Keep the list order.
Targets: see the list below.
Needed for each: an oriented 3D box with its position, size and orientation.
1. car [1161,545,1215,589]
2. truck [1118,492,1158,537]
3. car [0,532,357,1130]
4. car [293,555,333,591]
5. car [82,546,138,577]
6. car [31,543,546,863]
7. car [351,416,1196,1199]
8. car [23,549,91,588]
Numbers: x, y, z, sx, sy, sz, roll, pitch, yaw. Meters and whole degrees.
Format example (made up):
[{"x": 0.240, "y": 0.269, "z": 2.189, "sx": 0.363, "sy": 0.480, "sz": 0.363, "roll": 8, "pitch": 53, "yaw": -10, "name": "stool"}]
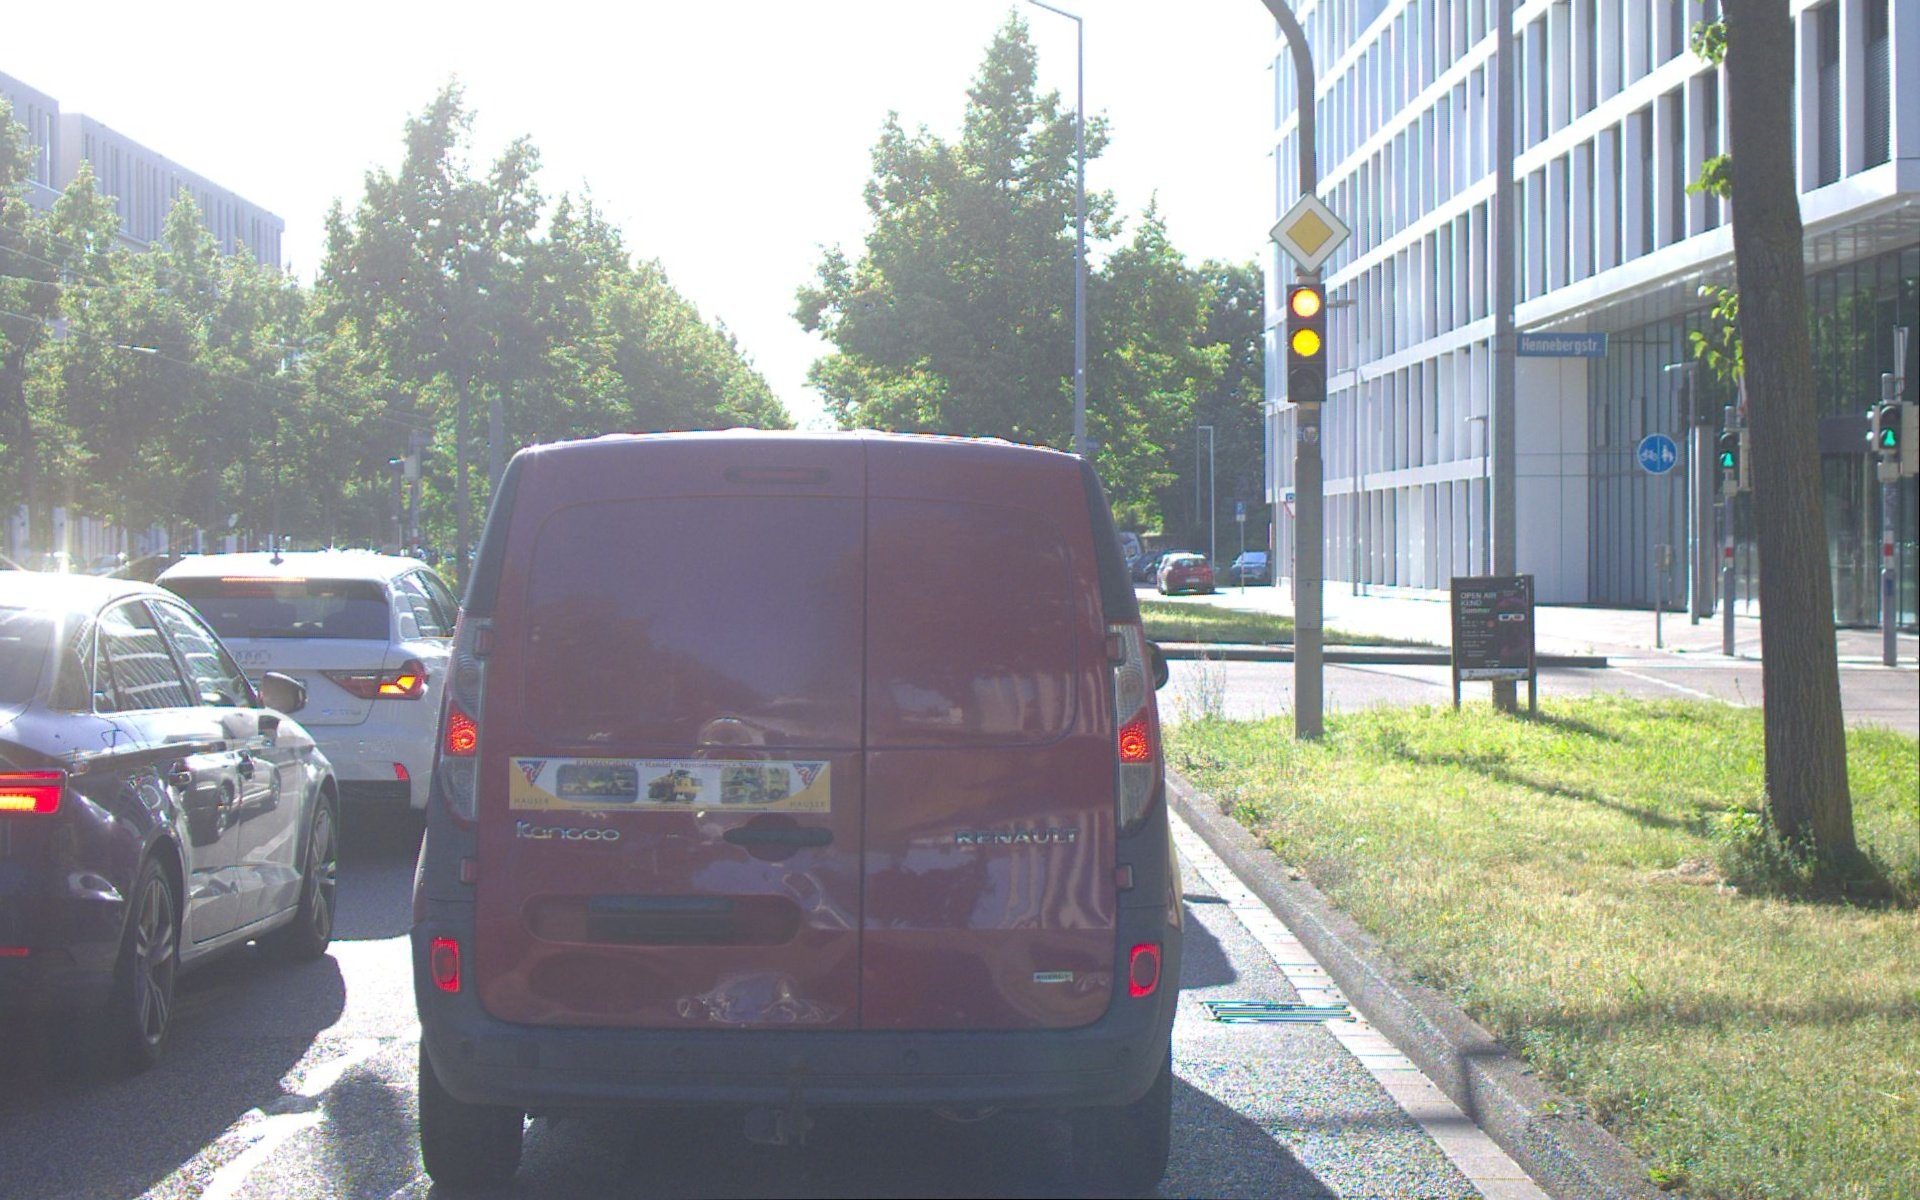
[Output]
[{"x": 8.462, "y": -1.243, "z": 127.864, "sx": 1.758, "sy": 1.606, "sz": 3.903, "roll": 0, "pitch": 1, "yaw": 1, "name": "car"}, {"x": 10.282, "y": -4.924, "z": 198.718, "sx": 1.831, "sy": 2.492, "sz": 5.933, "roll": 0, "pitch": 1, "yaw": -1, "name": "truck"}, {"x": -3.165, "y": 0.549, "z": 10.797, "sx": 1.808, "sy": 1.522, "sz": 4.113, "roll": 0, "pitch": 1, "yaw": 0, "name": "car"}, {"x": -37.472, "y": -1.577, "z": 199.197, "sx": 1.728, "sy": 2.007, "sz": 4.001, "roll": 0, "pitch": 1, "yaw": -3, "name": "car"}, {"x": -36.909, "y": -1.672, "z": 149.297, "sx": 1.580, "sy": 1.337, "sz": 3.712, "roll": 0, "pitch": 1, "yaw": -1, "name": "car"}, {"x": -3.265, "y": 0.429, "z": 17.503, "sx": 1.808, "sy": 1.430, "sz": 4.113, "roll": 0, "pitch": 1, "yaw": 0, "name": "car"}, {"x": -0.395, "y": 0.460, "z": 9.424, "sx": 1.808, "sy": 1.788, "sz": 4.113, "roll": 0, "pitch": 1, "yaw": 0, "name": "car"}, {"x": -35.860, "y": -1.247, "z": 136.547, "sx": 1.776, "sy": 1.523, "sz": 3.806, "roll": 0, "pitch": 1, "yaw": -1, "name": "car"}]
